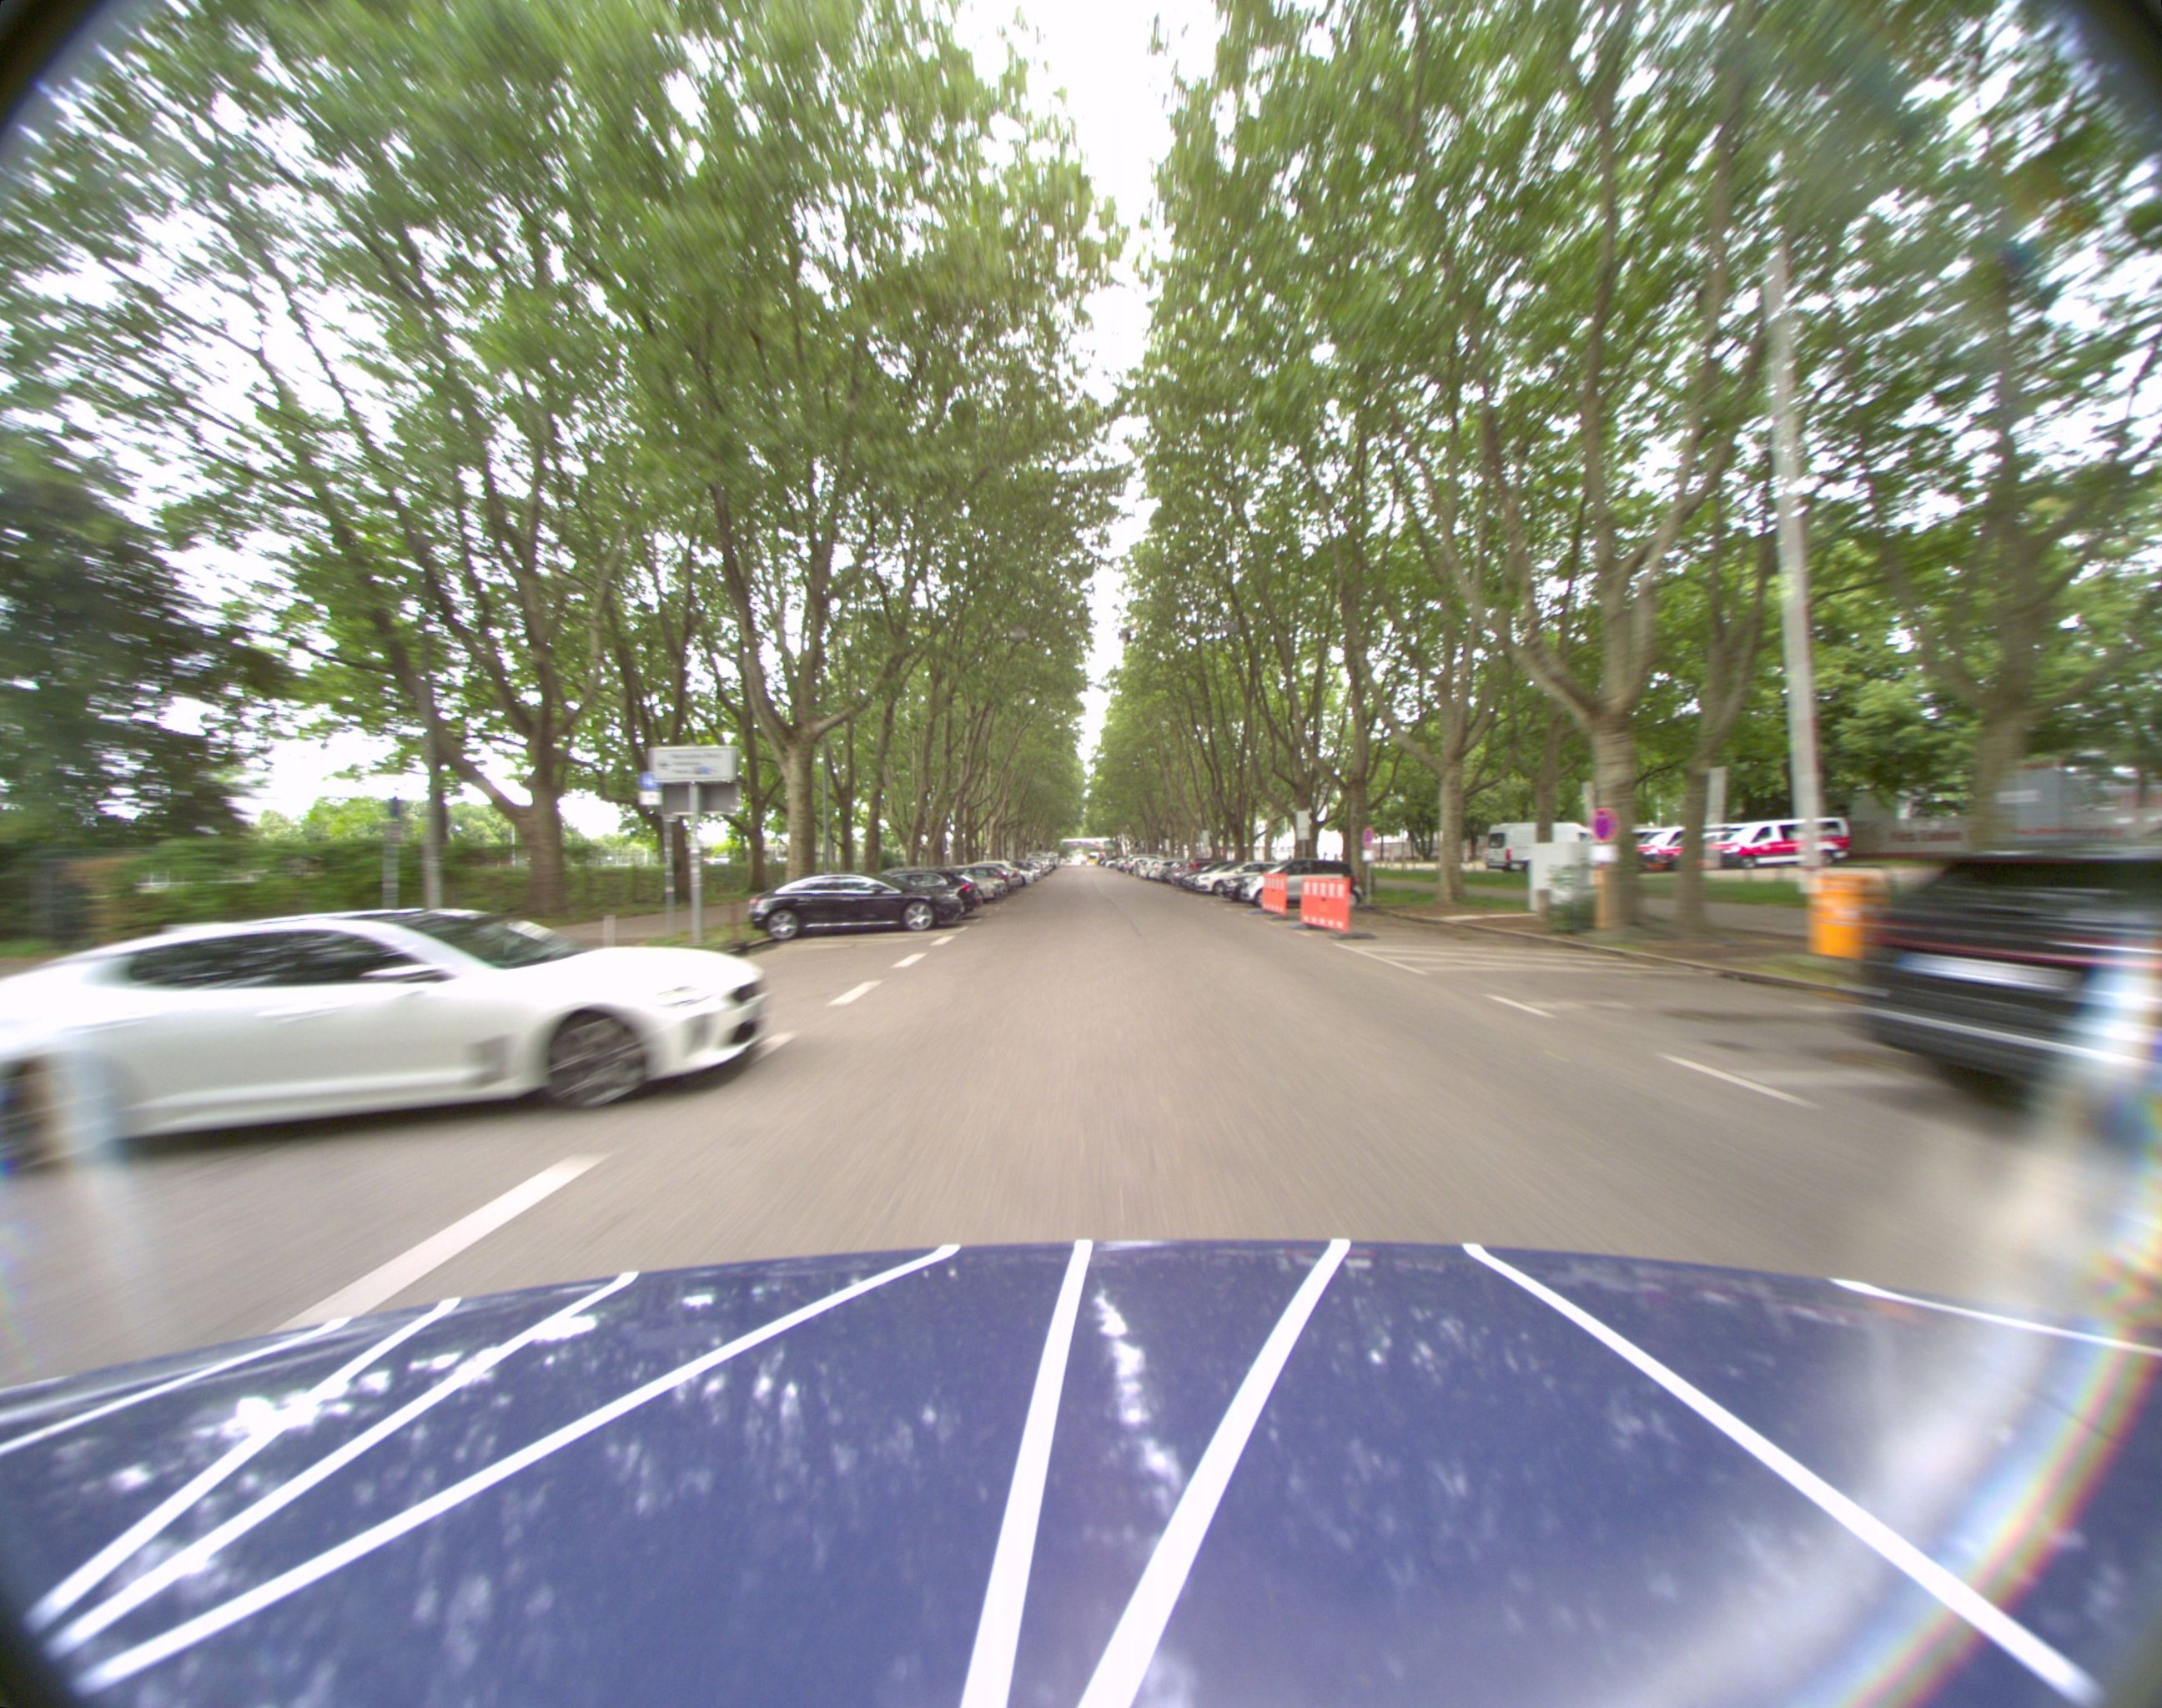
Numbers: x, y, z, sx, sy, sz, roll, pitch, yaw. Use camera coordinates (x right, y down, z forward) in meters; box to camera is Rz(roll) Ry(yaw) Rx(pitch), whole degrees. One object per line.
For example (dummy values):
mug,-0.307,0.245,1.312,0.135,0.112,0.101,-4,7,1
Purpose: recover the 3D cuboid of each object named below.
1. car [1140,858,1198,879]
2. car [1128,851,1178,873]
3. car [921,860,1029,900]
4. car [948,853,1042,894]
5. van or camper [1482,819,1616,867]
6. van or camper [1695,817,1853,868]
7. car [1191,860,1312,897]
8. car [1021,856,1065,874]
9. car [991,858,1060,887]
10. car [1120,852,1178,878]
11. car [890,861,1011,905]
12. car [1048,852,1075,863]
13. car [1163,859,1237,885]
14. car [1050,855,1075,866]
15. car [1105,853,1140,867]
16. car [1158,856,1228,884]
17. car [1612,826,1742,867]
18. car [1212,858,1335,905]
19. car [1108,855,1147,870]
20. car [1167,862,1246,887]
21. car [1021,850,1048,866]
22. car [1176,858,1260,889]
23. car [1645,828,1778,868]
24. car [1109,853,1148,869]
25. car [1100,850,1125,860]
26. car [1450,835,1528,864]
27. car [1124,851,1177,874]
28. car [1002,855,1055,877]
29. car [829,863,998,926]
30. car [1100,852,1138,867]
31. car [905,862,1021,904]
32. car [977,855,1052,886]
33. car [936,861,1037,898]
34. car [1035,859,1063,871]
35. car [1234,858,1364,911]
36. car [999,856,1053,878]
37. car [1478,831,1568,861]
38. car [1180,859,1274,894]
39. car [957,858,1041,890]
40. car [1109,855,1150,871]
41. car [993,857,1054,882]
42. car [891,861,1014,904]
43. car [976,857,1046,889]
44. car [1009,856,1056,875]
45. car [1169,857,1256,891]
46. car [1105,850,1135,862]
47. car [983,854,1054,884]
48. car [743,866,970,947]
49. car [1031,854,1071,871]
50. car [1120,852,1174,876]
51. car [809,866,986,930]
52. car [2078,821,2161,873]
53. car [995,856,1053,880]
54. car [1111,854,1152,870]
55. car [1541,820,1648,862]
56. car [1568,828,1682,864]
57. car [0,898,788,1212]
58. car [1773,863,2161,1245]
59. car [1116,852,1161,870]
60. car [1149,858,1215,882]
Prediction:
car,6.220,1.037,53.999,3.996,1.422,2.001,0,-1,2
car,6.747,0.710,71.125,4.492,1.740,2.001,-4,0,5
car,-4.993,1.229,36.219,4.674,1.514,2.001,-4,0,5
car,-4.602,1.033,41.175,4.674,1.891,2.001,-4,0,5
van or camper,23.209,-0.551,37.842,5.299,2.087,2.244,-2,1,-2
van or camper,34.328,-0.556,37.770,5.719,2.242,2.329,-2,1,0
car,6.982,1.002,31.521,4.575,1.425,2.090,0,0,2
car,-4.340,1.209,87.474,4.674,1.740,2.001,-4,0,5
car,-4.053,1.343,56.139,4.674,1.740,2.001,-4,0,5
car,5.503,0.859,61.446,4.492,1.740,2.001,-4,0,5
car,-4.928,1.093,28.947,4.097,1.516,1.825,-2,0,9
car,-3.663,0.658,141.250,4.919,1.817,2.000,-2,-2,-3
car,6.834,1.034,43.951,3.996,1.462,2.001,0,-1,2
car,-3.703,1.338,150.953,4.919,1.817,2.000,-2,-2,-3
car,6.055,0.861,111.554,4.919,1.817,2.000,-2,-2,-3
car,6.786,0.958,46.431,4.028,1.619,2.001,0,-1,2
car,33.540,-0.424,42.895,5.467,1.986,2.475,-2,1,-2
car,6.580,0.936,26.249,3.847,1.529,1.676,0,0,2
car,5.074,0.942,83.713,3.999,1.422,2.000,-2,-2,-6
car,6.755,1.080,41.142,3.996,1.302,2.001,0,-1,2
car,-7.079,0.585,116.124,3.997,2.273,2.000,-2,1,0
car,6.943,0.983,38.933,3.996,1.505,1.874,0,0,2
car,33.423,-0.320,40.383,5.467,1.839,1.999,-2,1,-2
car,6.199,0.951,99.383,4.919,1.817,2.000,-2,-2,-3
car,6.346,0.163,154.648,4.919,1.817,2.000,-2,-2,-3
car,33.413,-0.397,62.316,5.266,2.130,1.999,-2,1,-2
car,6.160,0.770,67.677,4.492,1.740,2.001,-4,0,5
car,-5.017,1.170,73.139,4.674,1.740,2.001,-4,0,5
car,-5.029,1.194,23.336,4.676,1.514,2.000,-4,0,-2
car,5.211,0.708,103.693,4.919,1.817,2.000,-2,-2,-3
car,-5.215,1.280,33.922,4.674,1.514,2.001,-4,0,6
car,-4.447,1.079,51.471,4.674,1.740,2.001,-4,0,5
car,-4.766,1.257,38.587,4.674,1.514,2.001,-4,0,5
car,-4.621,1.565,109.223,3.998,1.641,1.999,-2,1,-4
car,6.752,0.927,23.788,3.565,1.569,1.847,0,0,2
car,-5.061,1.212,70.389,4.674,1.740,2.001,-4,0,5
car,33.497,-0.584,57.698,5.467,2.009,2.393,-2,1,-2
car,6.416,0.986,33.754,3.847,1.466,1.847,0,0,2
car,-4.963,1.212,46.191,4.674,1.602,2.001,-4,0,5
car,4.990,0.978,78.556,3.997,1.422,2.000,-2,-2,-2
car,-4.767,1.299,63.146,4.674,1.740,2.001,-4,0,5
car,-5.296,1.168,31.689,4.673,1.514,1.905,-3,0,6
car,-4.450,1.180,48.872,4.116,1.740,2.001,-4,0,5
car,-5.144,1.224,81.246,4.674,1.740,2.001,-4,0,5
car,6.218,0.944,36.254,3.847,1.560,1.847,0,0,2
car,6.651,0.391,129.802,4.919,1.817,2.000,-2,-2,-3
car,-4.379,1.058,53.662,4.674,1.740,2.001,-4,0,5
car,-5.276,1.206,18.395,4.832,1.497,2.000,-4,0,-2
car,-3.681,1.081,94.020,4.674,1.740,2.001,-4,0,5
car,5.650,0.836,65.412,4.492,1.740,2.001,-4,0,5
car,-4.932,1.177,20.987,4.383,1.469,1.999,-2,1,-2
car,33.947,-0.274,23.539,3.998,1.478,1.800,-2,1,-4
car,-4.940,1.235,66.500,4.674,1.740,2.001,-4,0,5
car,6.375,1.050,96.689,4.919,1.817,2.000,-2,-2,-3
car,33.938,-0.861,50.290,5.467,2.502,2.393,-2,1,-2
car,33.995,-0.485,47.603,5.467,2.009,2.393,-2,1,-2
car,-4.837,1.232,5.539,4.680,1.376,1.997,-3,2,-11
car,6.843,0.868,4.042,4.418,1.616,2.047,0,0,1
car,6.693,0.809,88.509,4.919,1.817,2.000,-2,-2,-3
car,6.433,1.013,48.658,4.039,1.518,1.800,0,-1,2
